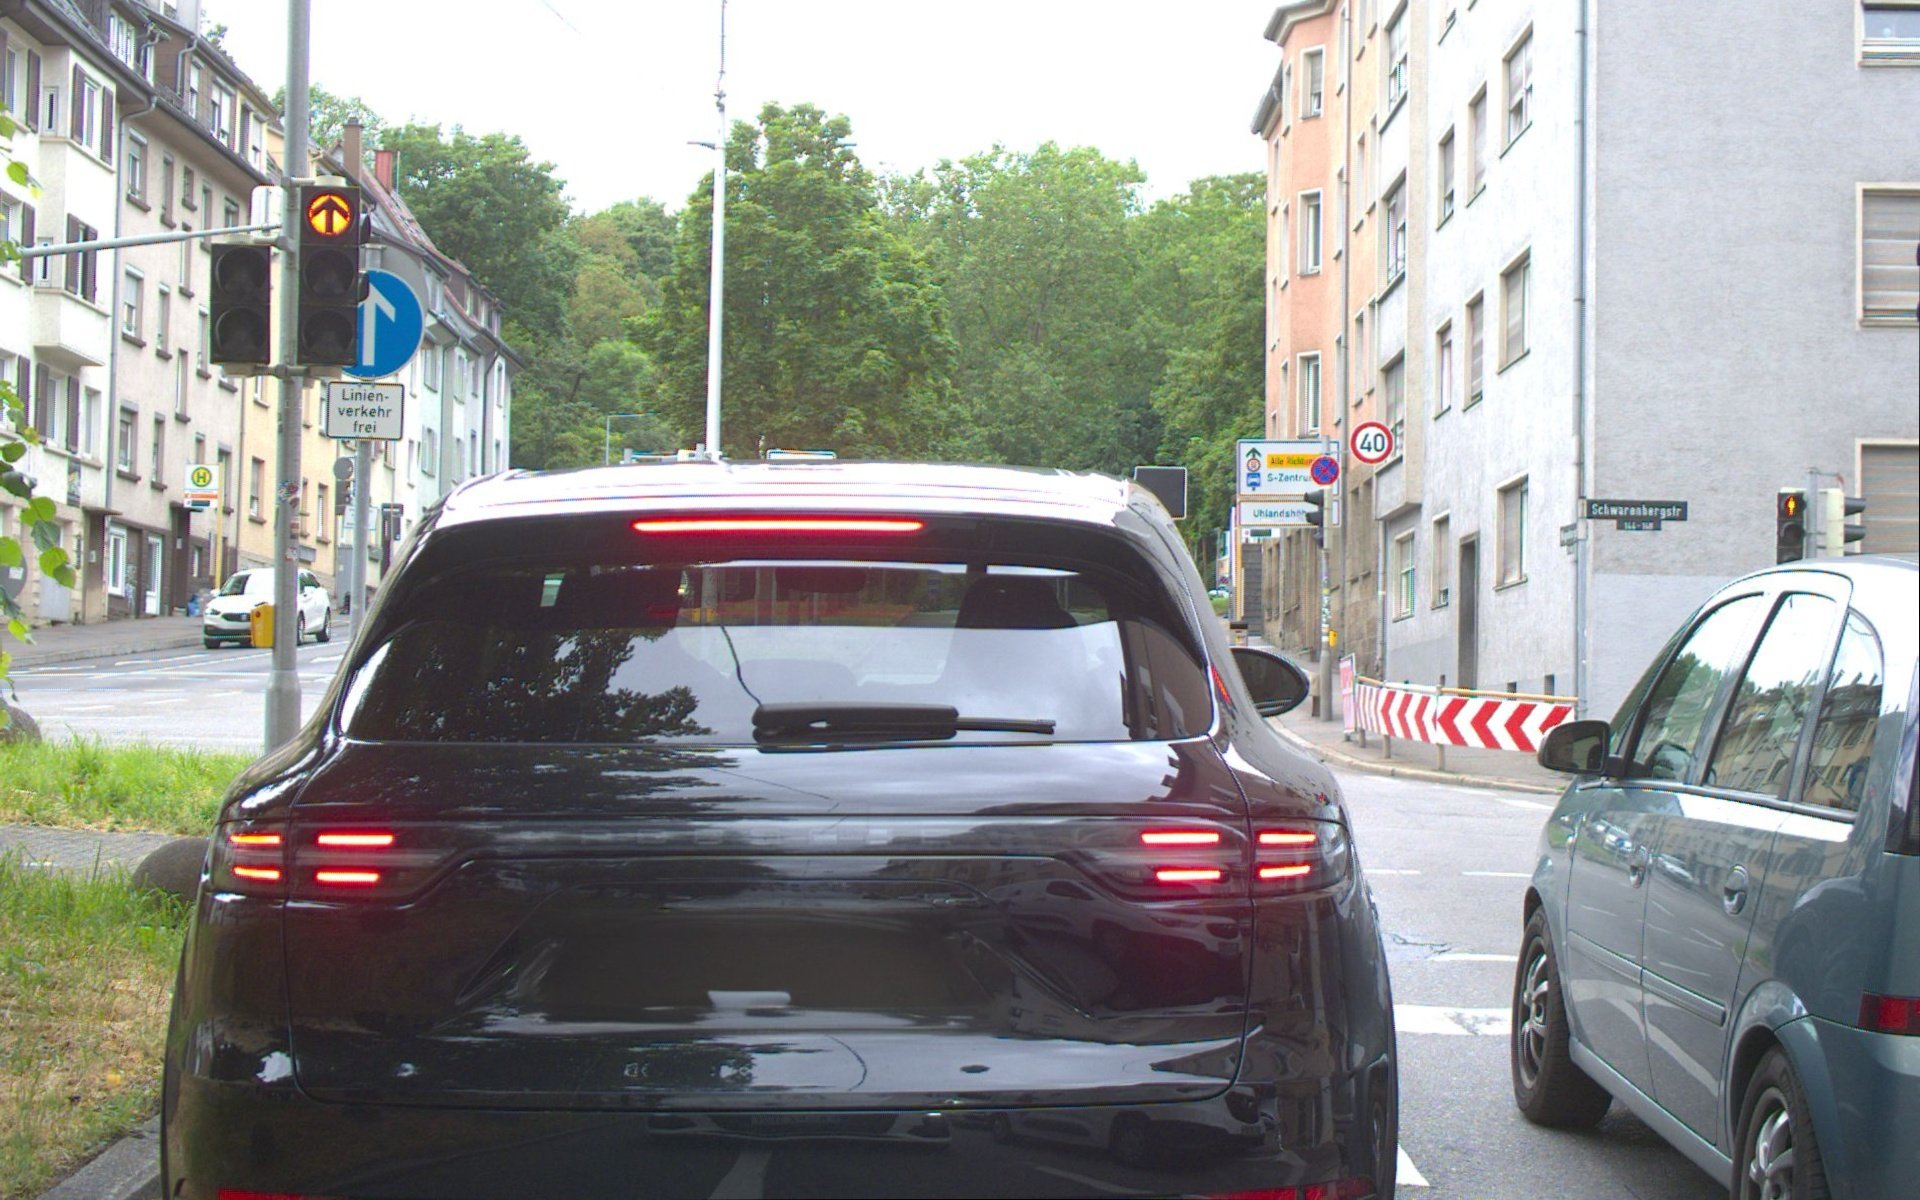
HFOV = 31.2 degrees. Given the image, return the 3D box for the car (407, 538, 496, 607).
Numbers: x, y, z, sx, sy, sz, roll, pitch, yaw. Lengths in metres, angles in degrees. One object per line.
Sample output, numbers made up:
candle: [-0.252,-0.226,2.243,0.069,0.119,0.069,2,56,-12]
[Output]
car: [-15.435,-0.845,104.521,2.016,2.038,4.667,1,1,0]

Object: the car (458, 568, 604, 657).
car: [-6.958,0.177,56.103,1.862,1.383,4.094,1,1,0]

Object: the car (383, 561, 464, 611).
car: [-15.416,-0.409,98.875,1.739,1.382,3.814,1,1,0]

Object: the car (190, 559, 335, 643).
car: [-12.980,-0.002,64.173,1.844,1.481,3.898,1,1,1]

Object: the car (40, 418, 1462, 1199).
car: [-0.311,0.566,6.738,1.955,1.669,4.000,0,1,-1]

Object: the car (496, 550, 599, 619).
car: [-10.044,-0.395,83.969,1.974,1.605,4.558,1,1,0]

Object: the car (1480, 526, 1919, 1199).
car: [2.354,0.699,7.874,1.628,1.592,3.669,4,1,-1]

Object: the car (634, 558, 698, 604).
car: [-9.878,-0.634,115.602,1.619,1.475,3.823,1,-1,3]
